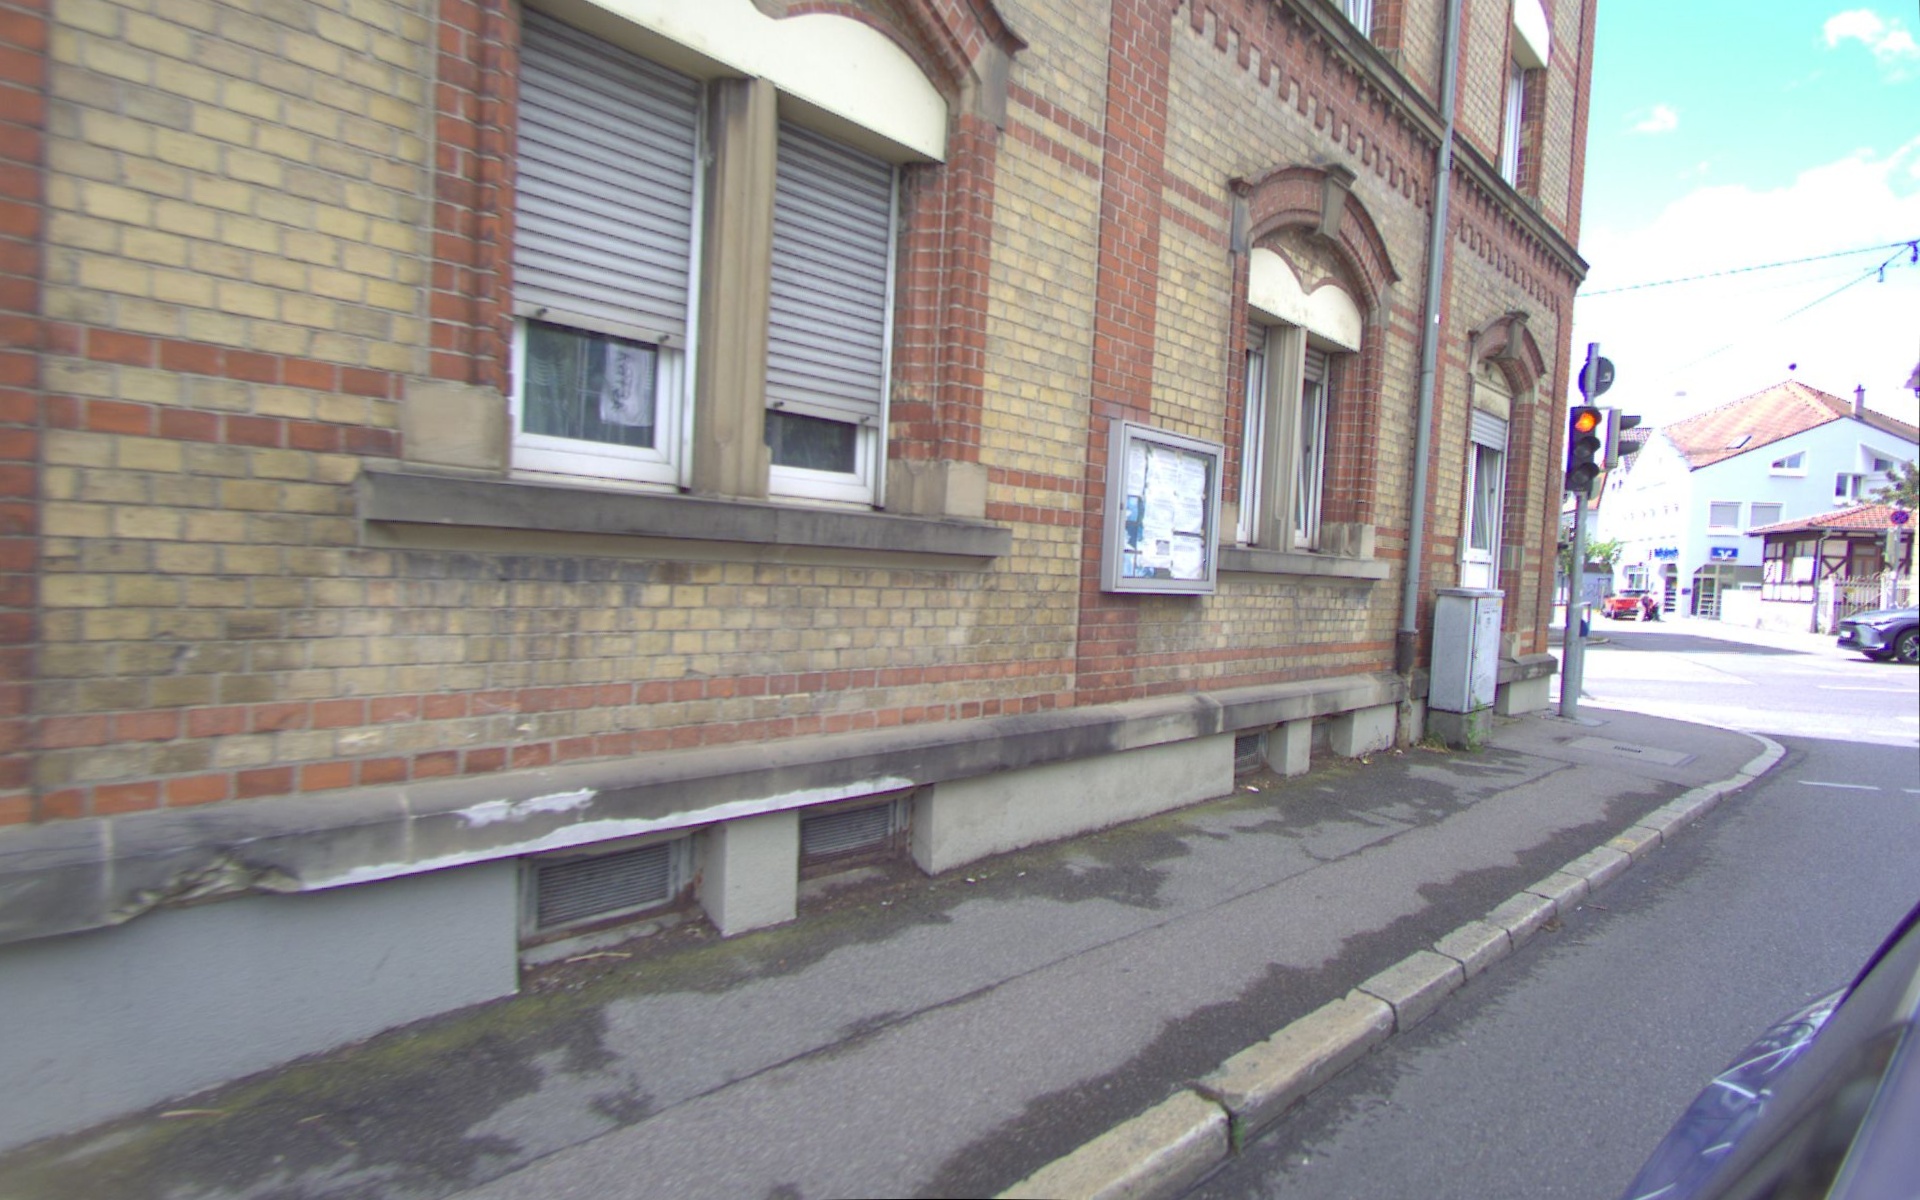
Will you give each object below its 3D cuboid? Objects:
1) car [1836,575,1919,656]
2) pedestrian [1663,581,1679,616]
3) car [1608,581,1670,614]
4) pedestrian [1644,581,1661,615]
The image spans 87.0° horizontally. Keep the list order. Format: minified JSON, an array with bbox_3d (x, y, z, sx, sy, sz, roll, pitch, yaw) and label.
[{"bbox_3d":[21.199,0.345,20.313,5.040,1.597,1.985,1,1,23],"label":"car"},{"bbox_3d":[33.745,-0.082,48.030,0.608,1.616,0.715,0,0,35],"label":"pedestrian"},{"bbox_3d":[34.107,-0.143,50.934,1.979,1.560,3.965,0,1,26],"label":"car"},{"bbox_3d":[33.220,-0.108,48.539,0.565,1.616,0.753,0,0,40],"label":"pedestrian"}]
